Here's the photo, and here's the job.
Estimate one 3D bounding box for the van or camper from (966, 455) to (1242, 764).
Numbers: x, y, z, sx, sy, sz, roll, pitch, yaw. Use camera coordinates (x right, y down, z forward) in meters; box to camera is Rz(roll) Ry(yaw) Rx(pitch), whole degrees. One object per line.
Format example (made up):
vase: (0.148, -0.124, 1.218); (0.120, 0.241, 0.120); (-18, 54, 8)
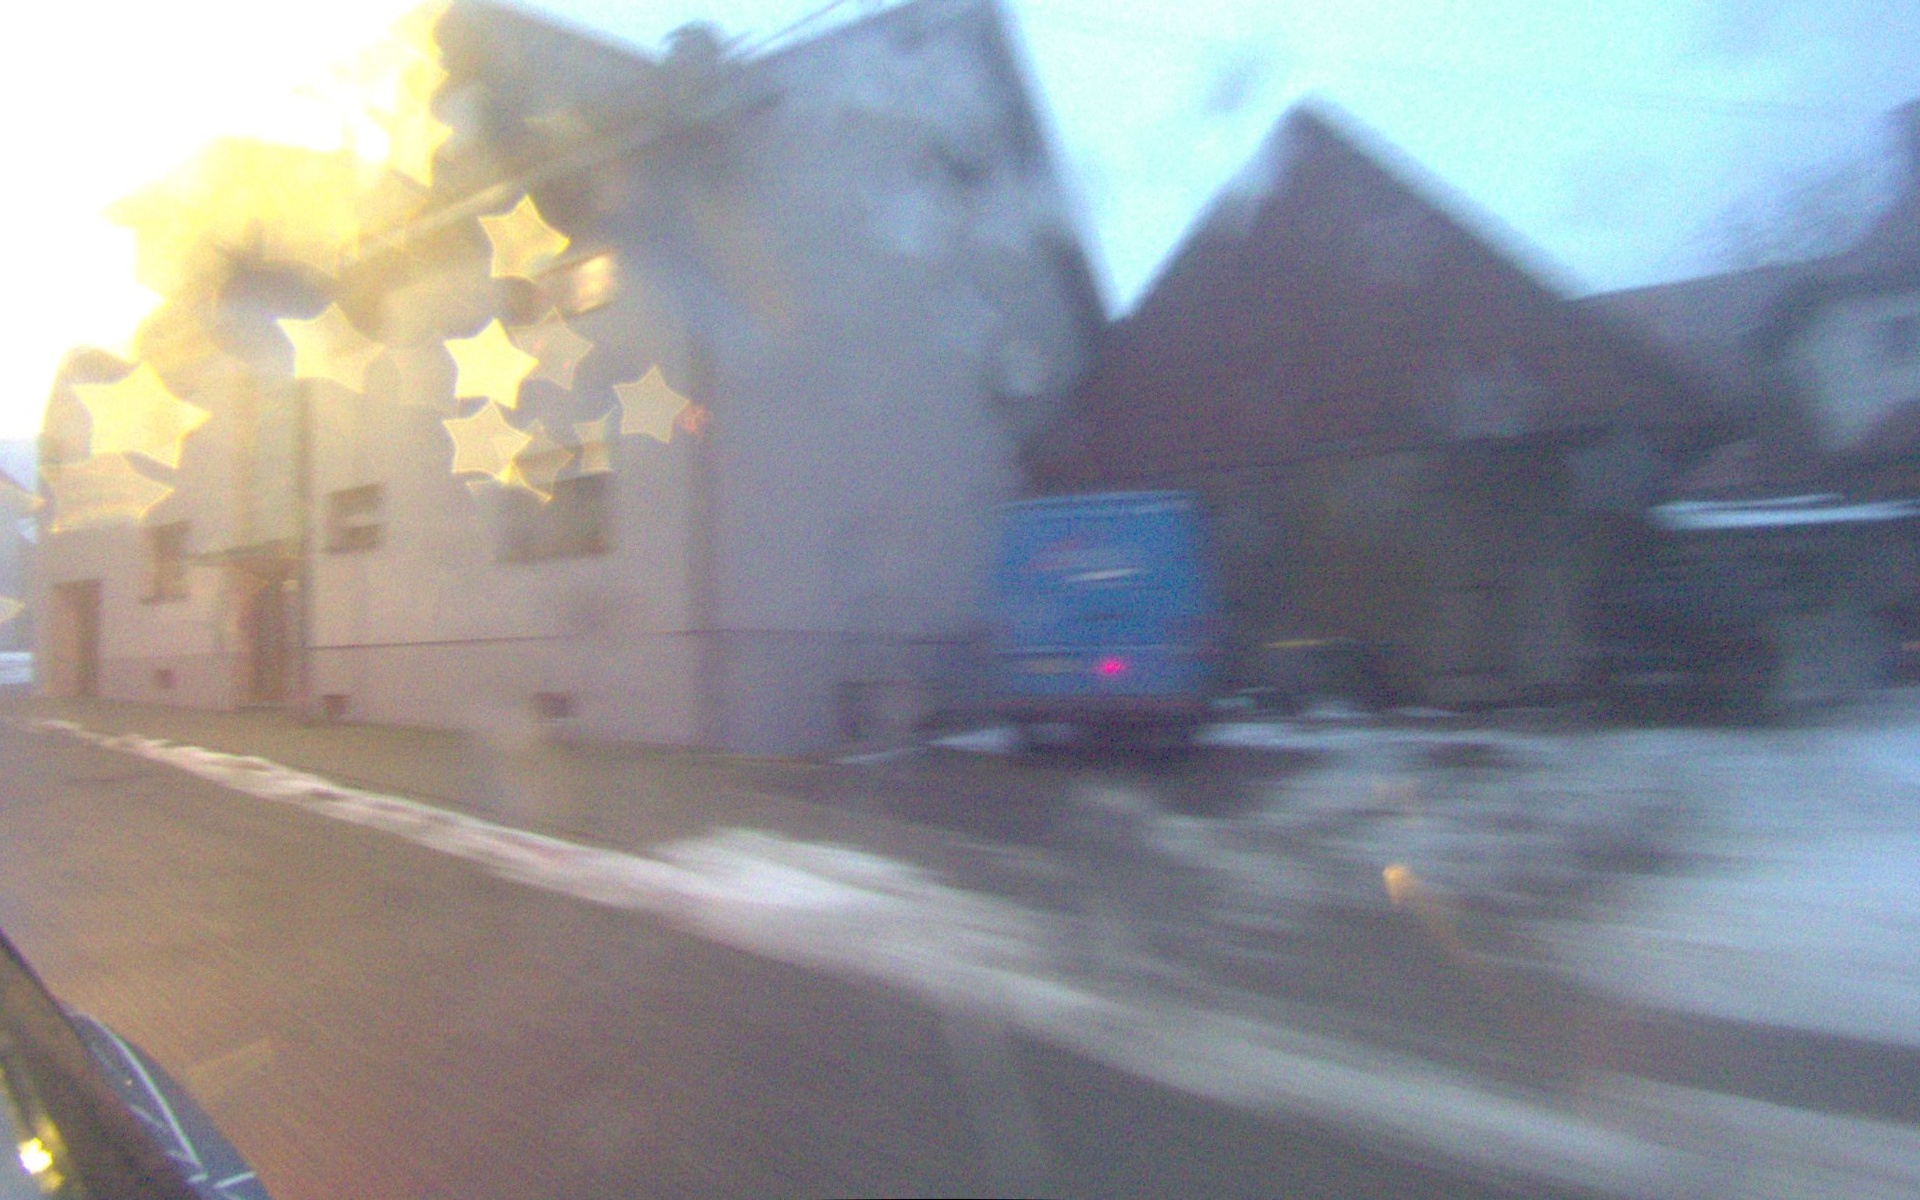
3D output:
van or camper: (1.848, 0.177, 10.930); (2.127, 2.467, 5.274); (-1, -2, 17)
